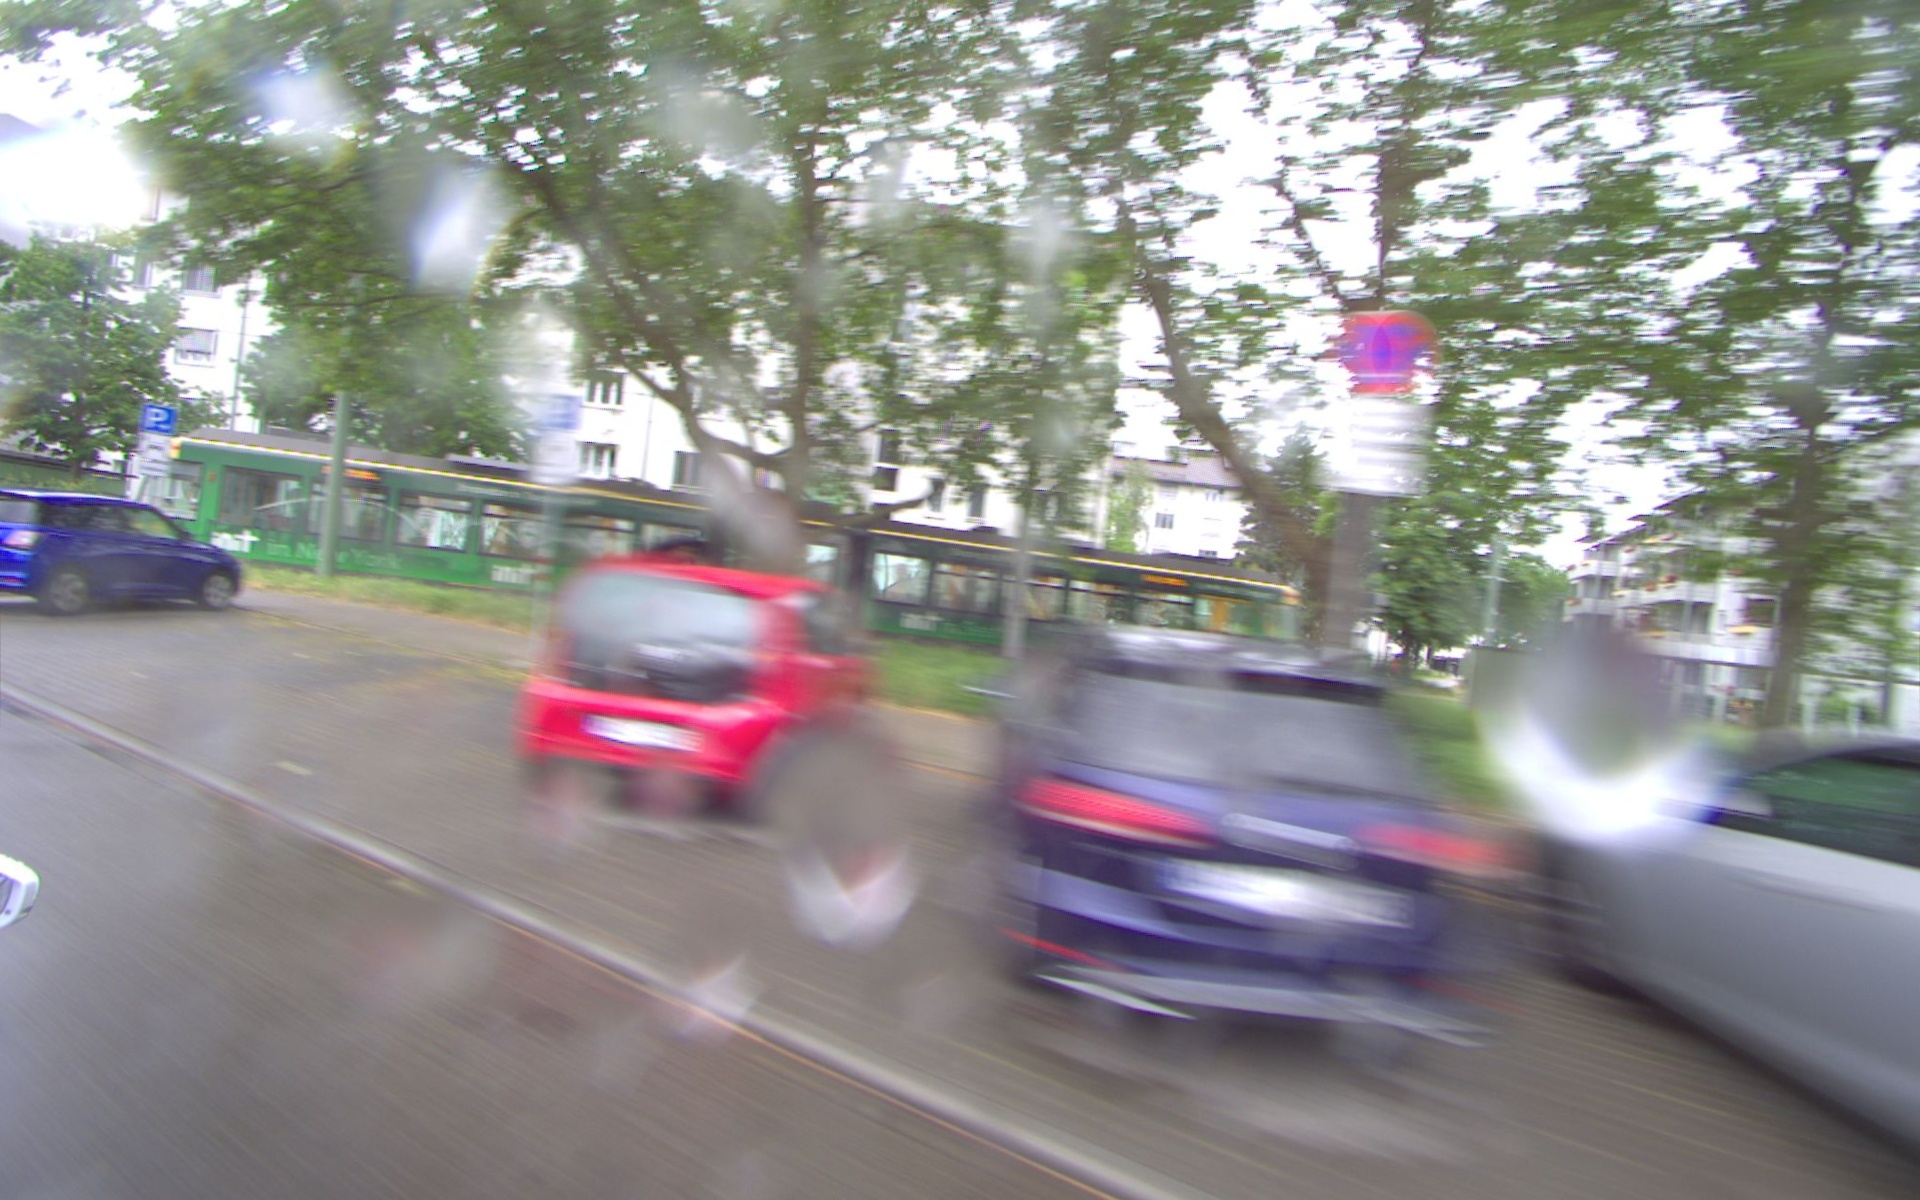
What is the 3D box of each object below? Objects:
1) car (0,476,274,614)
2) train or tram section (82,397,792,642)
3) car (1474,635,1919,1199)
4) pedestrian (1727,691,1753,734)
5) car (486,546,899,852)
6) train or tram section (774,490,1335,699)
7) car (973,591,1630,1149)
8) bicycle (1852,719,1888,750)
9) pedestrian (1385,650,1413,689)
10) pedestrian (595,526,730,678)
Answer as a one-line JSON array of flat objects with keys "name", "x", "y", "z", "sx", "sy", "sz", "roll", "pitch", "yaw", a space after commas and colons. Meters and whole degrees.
[{"name": "car", "x": -11.592, "y": -0.726, "z": 13.428, "sx": 1.963, "sy": 1.501, "sz": 3.998, "roll": 8, "pitch": 0, "yaw": 1}, {"name": "train or tram section", "x": -11.521, "y": -1.624, "z": 23.977, "sx": 14.493, "sy": 3.632, "sz": 2.710, "roll": 7, "pitch": -1, "yaw": -11}, {"name": "car", "x": 3.846, "y": 1.079, "z": 3.458, "sx": 1.924, "sy": 1.573, "sz": 3.997, "roll": 5, "pitch": 1, "yaw": -1}, {"name": "pedestrian", "x": 30.545, "y": 4.401, "z": 39.405, "sx": 0.626, "sy": 1.592, "sz": 0.788, "roll": 4, "pitch": 0, "yaw": 32}, {"name": "car", "x": -1.599, "y": 0.519, "z": 7.310, "sx": 1.606, "sy": 1.499, "sz": 3.598, "roll": 6, "pitch": 1, "yaw": 6}, {"name": "train or tram section", "x": 2.558, "y": 0.021, "z": 26.857, "sx": 14.493, "sy": 3.632, "sz": 2.710, "roll": 7, "pitch": -1, "yaw": -11}, {"name": "car", "x": 1.069, "y": 0.823, "z": 5.159, "sx": 1.831, "sy": 1.499, "sz": 4.119, "roll": 6, "pitch": 1, "yaw": 0}, {"name": "bicycle", "x": 33.340, "y": 4.921, "z": 36.886, "sx": 0.410, "sy": 0.959, "sz": 1.308, "roll": 5, "pitch": -1, "yaw": 17}, {"name": "pedestrian", "x": 22.663, "y": 3.594, "z": 51.939, "sx": 1.169, "sy": 1.907, "sz": 1.053, "roll": 4, "pitch": 0, "yaw": 27}, {"name": "pedestrian", "x": -3.711, "y": 0.033, "z": 12.571, "sx": 1.062, "sy": 1.736, "sz": 1.045, "roll": 7, "pitch": 1, "yaw": 32}]
